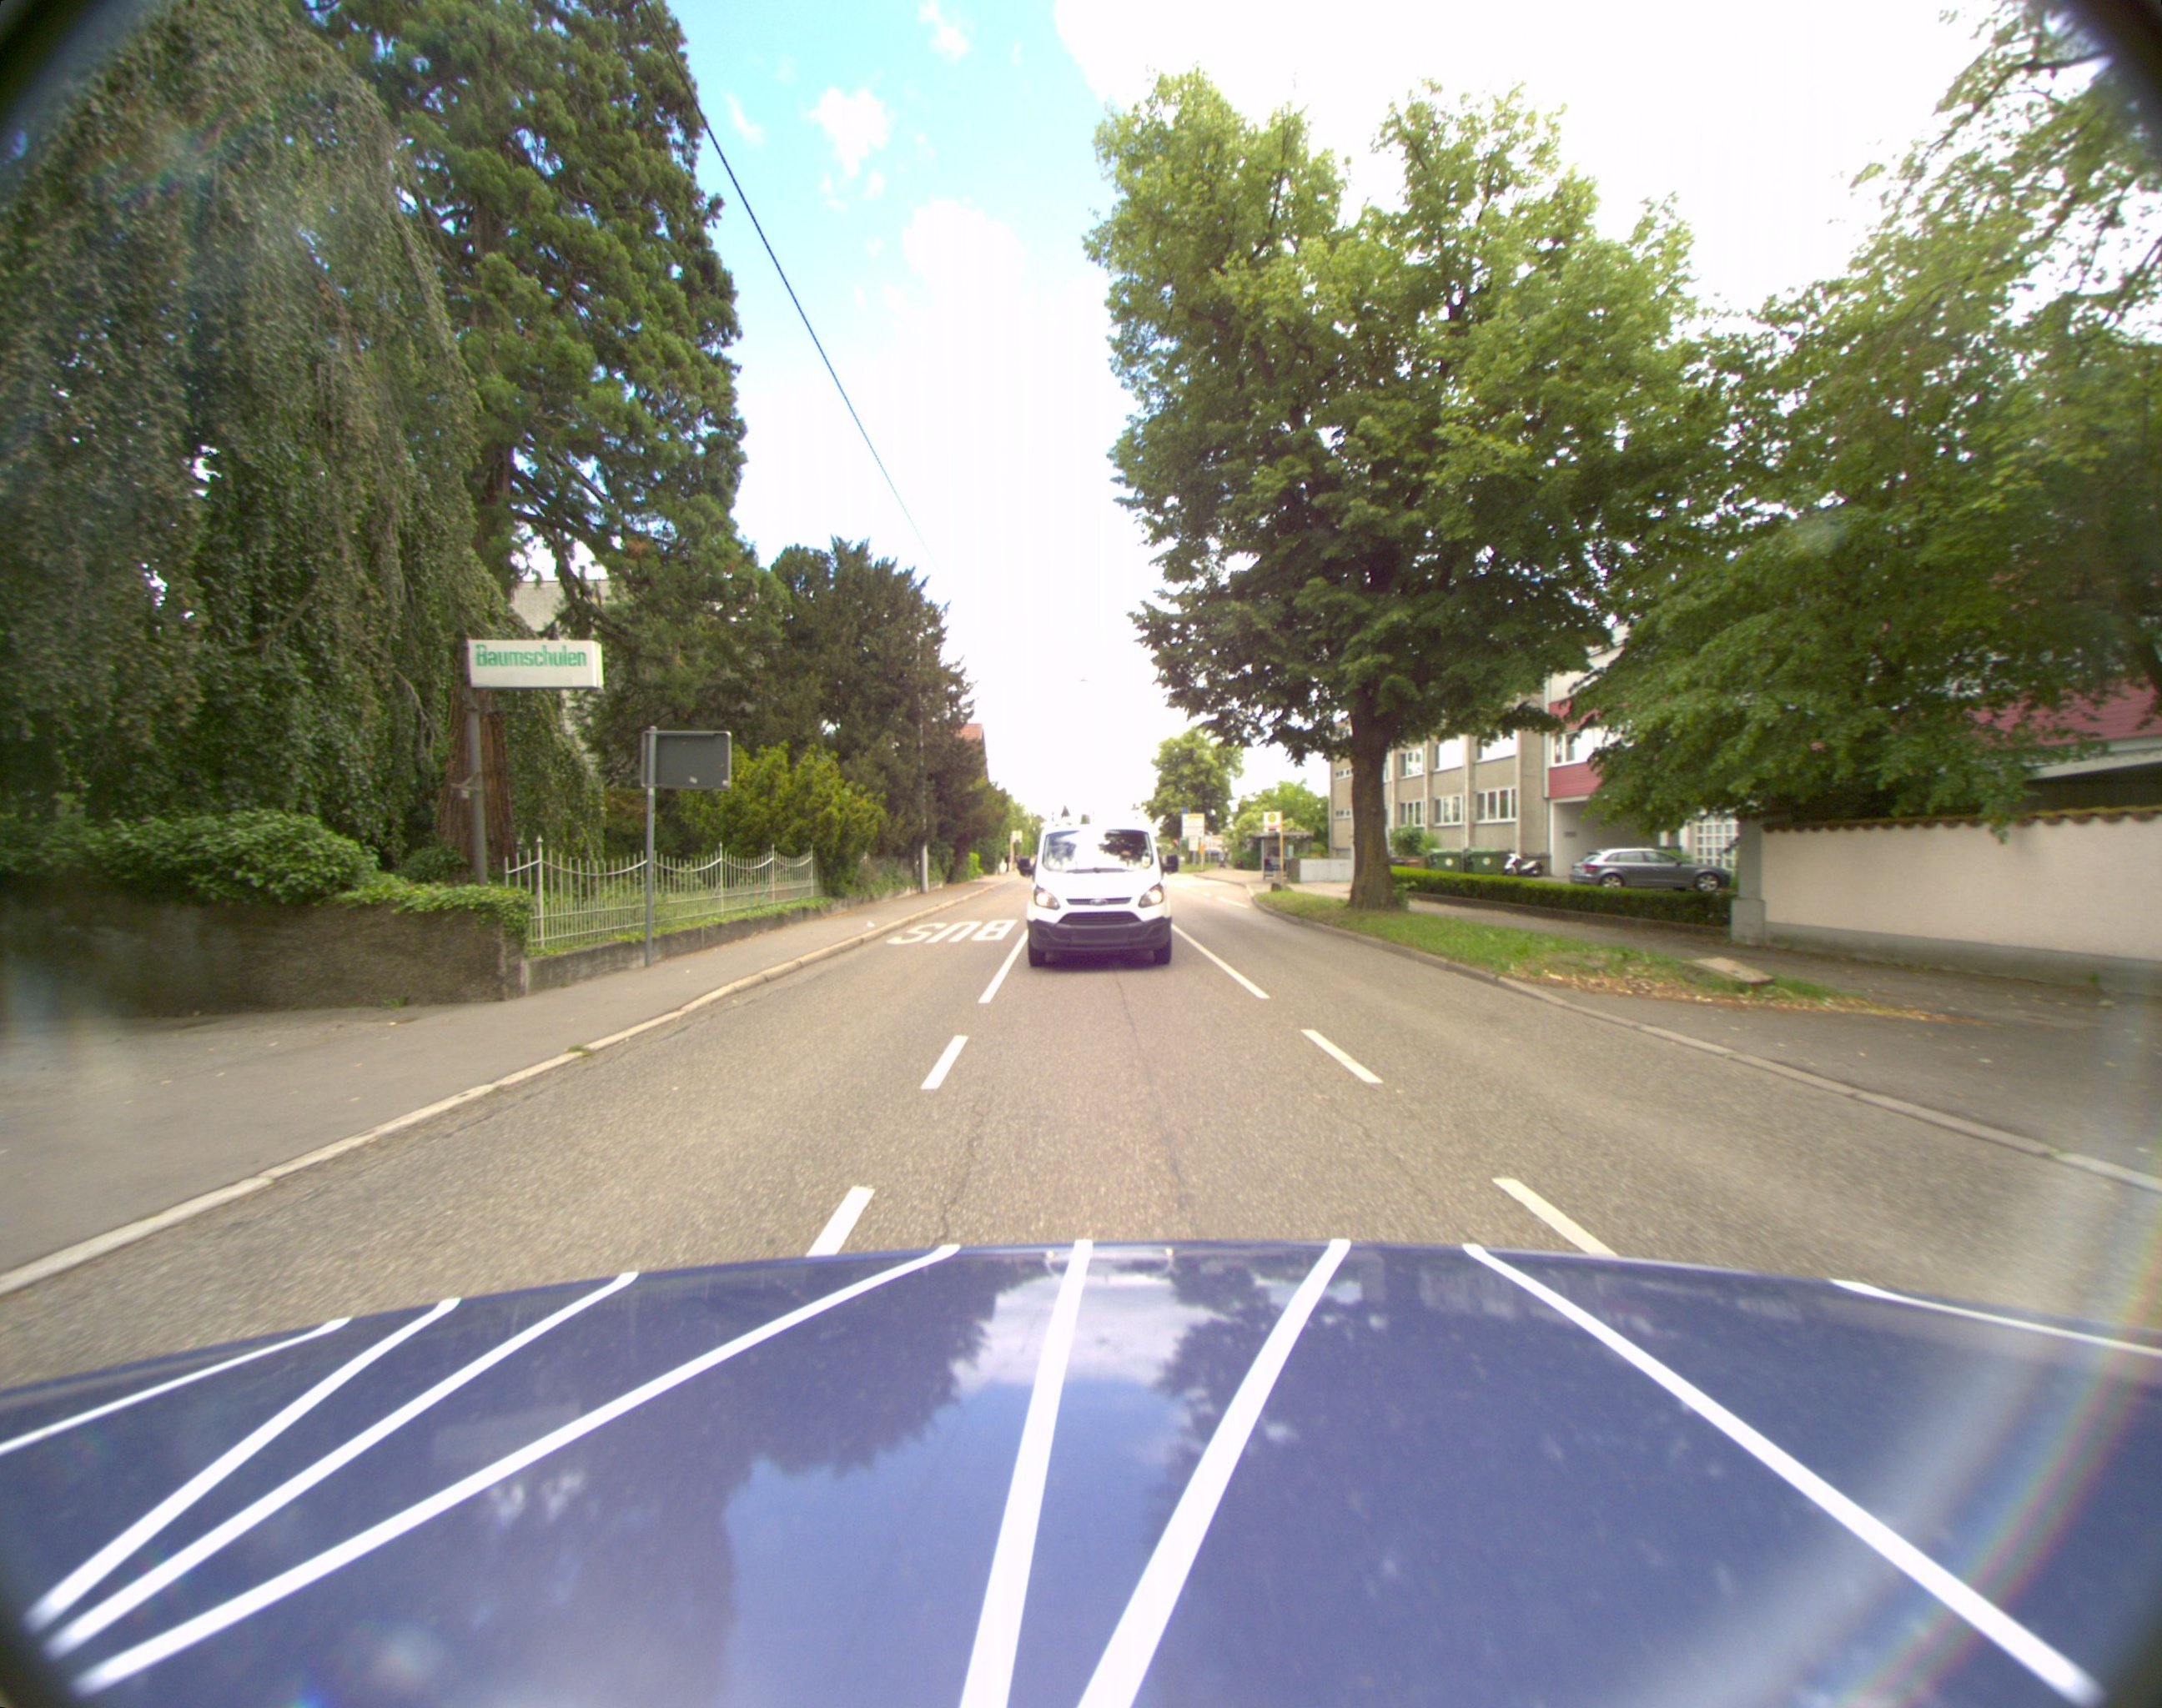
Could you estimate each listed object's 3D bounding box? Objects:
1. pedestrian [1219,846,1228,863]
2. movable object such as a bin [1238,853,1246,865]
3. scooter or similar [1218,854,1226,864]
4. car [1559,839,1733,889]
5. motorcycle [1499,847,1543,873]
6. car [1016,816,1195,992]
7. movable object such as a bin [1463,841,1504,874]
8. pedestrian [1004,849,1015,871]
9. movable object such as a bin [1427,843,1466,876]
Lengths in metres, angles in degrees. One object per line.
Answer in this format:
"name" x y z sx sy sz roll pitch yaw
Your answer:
"pedestrian" 12.635 0.050 67.439 0.672 1.549 0.520 -1 2 17
"movable object such as a bin" 13.366 0.423 63.110 0.566 0.922 0.608 -1 2 16
"scooter or similar" 12.402 0.445 66.680 0.607 0.782 0.860 -1 1 17
"car" 18.238 0.320 24.735 4.143 1.471 1.814 -2 1 15
"motorcycle" 20.250 0.278 35.007 1.645 1.133 0.639 -2 2 1
"car" 0.228 0.530 11.620 1.999 1.961 5.713 -2 1 -1
"movable object such as a bin" 18.528 0.165 35.004 1.365 1.457 0.884 -2 1 0
"pedestrian" -5.787 0.465 61.259 0.488 1.757 0.672 -1 2 31
"movable object such as a bin" 16.824 0.234 35.007 1.301 1.457 0.992 -2 1 0
